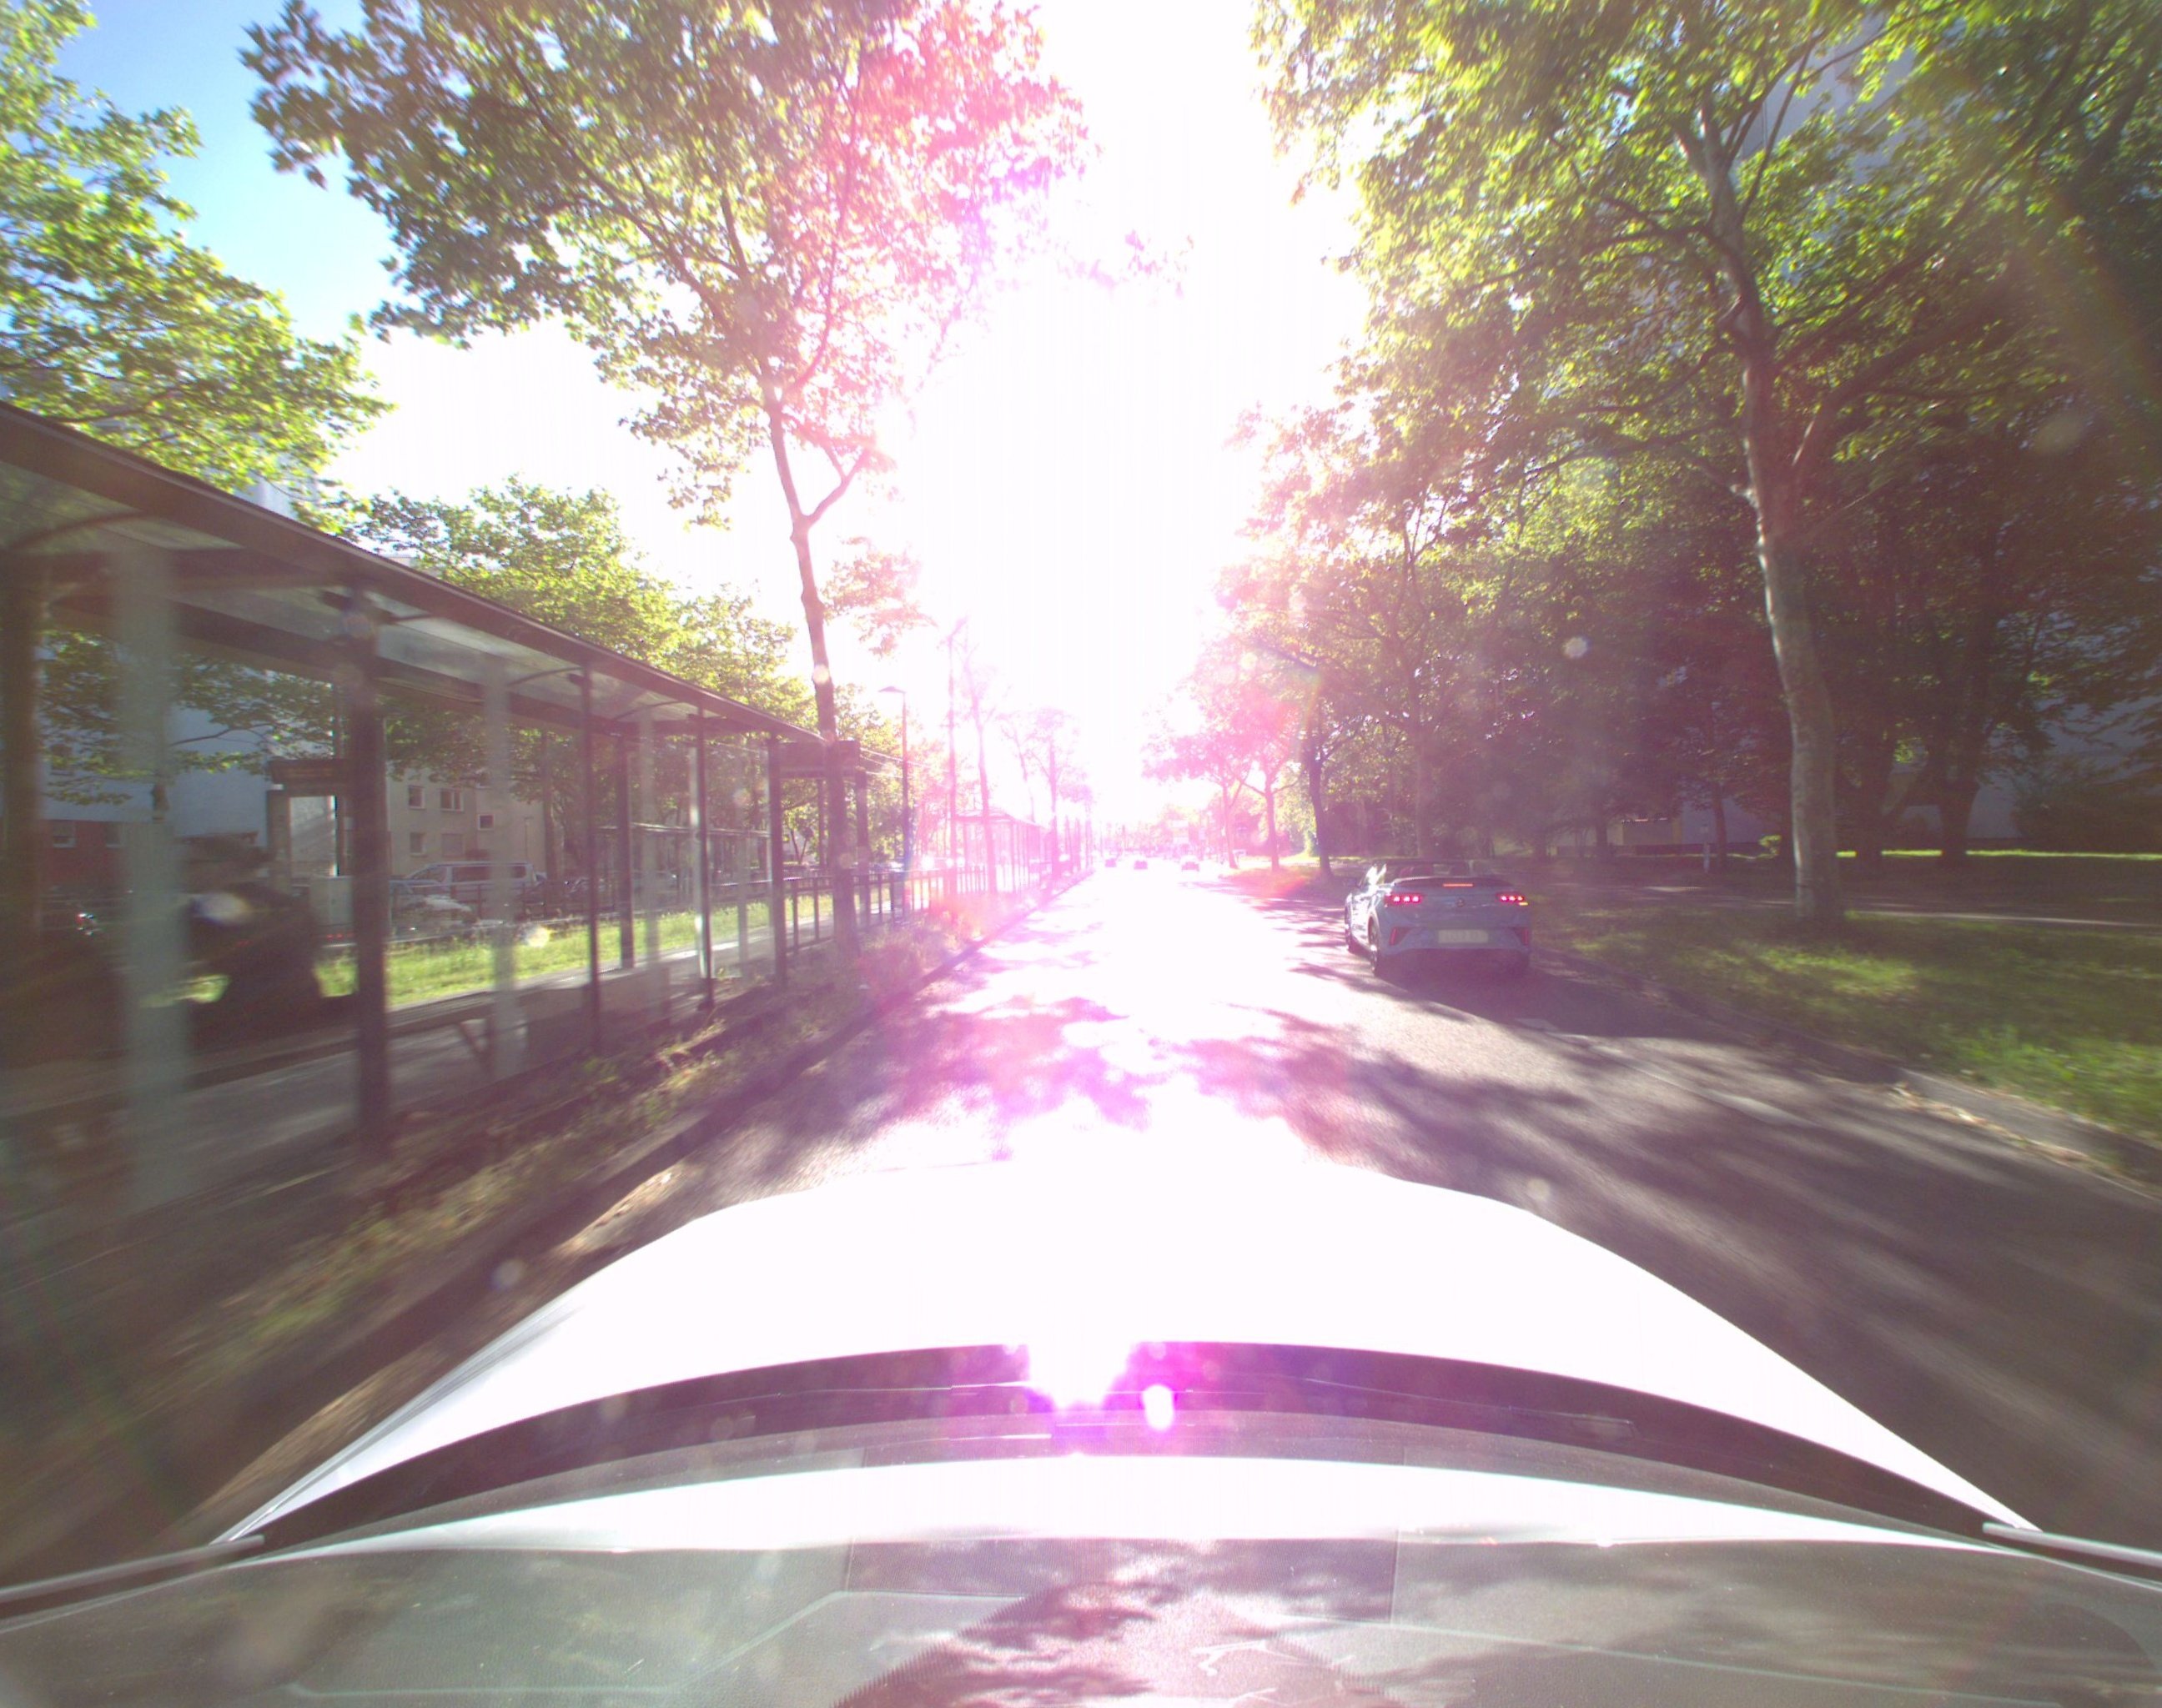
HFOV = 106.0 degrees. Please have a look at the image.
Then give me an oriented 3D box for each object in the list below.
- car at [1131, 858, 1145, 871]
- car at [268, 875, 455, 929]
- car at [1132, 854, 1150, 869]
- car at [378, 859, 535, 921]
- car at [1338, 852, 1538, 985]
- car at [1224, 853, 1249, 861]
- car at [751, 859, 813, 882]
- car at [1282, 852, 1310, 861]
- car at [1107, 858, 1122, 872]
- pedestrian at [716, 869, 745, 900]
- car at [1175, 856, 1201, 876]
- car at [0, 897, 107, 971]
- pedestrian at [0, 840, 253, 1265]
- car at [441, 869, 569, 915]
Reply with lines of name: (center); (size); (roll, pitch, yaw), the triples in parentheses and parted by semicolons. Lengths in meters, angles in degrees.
car: (6.932, 1.272, 99.497); (1.671, 1.475, 4.134); (-1, -1, 3)
car: (-23.684, 1.531, 27.041); (4.523, 1.497, 1.878); (0, 1, -40)
car: (6.154, 0.763, 83.632); (1.633, 1.494, 3.504); (-1, 0, 1)
car: (-23.096, 1.264, 30.335); (4.520, 2.063, 1.879); (0, 1, -37)
car: (4.685, 0.726, 11.297); (1.764, 1.483, 4.114); (-1, 0, 12)
car: (28.275, 0.591, 148.028); (3.949, 1.338, 1.739); (-1, -1, 28)
car: (-22.248, 1.189, 60.647); (4.014, 1.544, 1.627); (-1, 1, -40)
car: (37.698, 0.510, 142.786); (4.311, 1.559, 1.883); (-1, -1, 27)
car: (4.026, 1.316, 98.958); (1.704, 1.603, 3.350); (-1, -1, 1)
pedestrian: (-13.347, 1.158, 31.017); (0.692, 1.127, 0.662); (-5, -1, 3)
car: (9.978, 1.077, 76.272); (1.974, 1.792, 4.616); (0, -1, 2)
car: (-23.899, 1.733, 17.039); (4.219, 1.428, 1.681); (0, 1, -37)
pedestrian: (-3.408, 0.590, 2.682); (0.732, 1.252, 0.587); (0, -1, -4)
car: (-23.350, 1.475, 33.080); (4.082, 1.610, 1.669); (-1, 1, -42)
